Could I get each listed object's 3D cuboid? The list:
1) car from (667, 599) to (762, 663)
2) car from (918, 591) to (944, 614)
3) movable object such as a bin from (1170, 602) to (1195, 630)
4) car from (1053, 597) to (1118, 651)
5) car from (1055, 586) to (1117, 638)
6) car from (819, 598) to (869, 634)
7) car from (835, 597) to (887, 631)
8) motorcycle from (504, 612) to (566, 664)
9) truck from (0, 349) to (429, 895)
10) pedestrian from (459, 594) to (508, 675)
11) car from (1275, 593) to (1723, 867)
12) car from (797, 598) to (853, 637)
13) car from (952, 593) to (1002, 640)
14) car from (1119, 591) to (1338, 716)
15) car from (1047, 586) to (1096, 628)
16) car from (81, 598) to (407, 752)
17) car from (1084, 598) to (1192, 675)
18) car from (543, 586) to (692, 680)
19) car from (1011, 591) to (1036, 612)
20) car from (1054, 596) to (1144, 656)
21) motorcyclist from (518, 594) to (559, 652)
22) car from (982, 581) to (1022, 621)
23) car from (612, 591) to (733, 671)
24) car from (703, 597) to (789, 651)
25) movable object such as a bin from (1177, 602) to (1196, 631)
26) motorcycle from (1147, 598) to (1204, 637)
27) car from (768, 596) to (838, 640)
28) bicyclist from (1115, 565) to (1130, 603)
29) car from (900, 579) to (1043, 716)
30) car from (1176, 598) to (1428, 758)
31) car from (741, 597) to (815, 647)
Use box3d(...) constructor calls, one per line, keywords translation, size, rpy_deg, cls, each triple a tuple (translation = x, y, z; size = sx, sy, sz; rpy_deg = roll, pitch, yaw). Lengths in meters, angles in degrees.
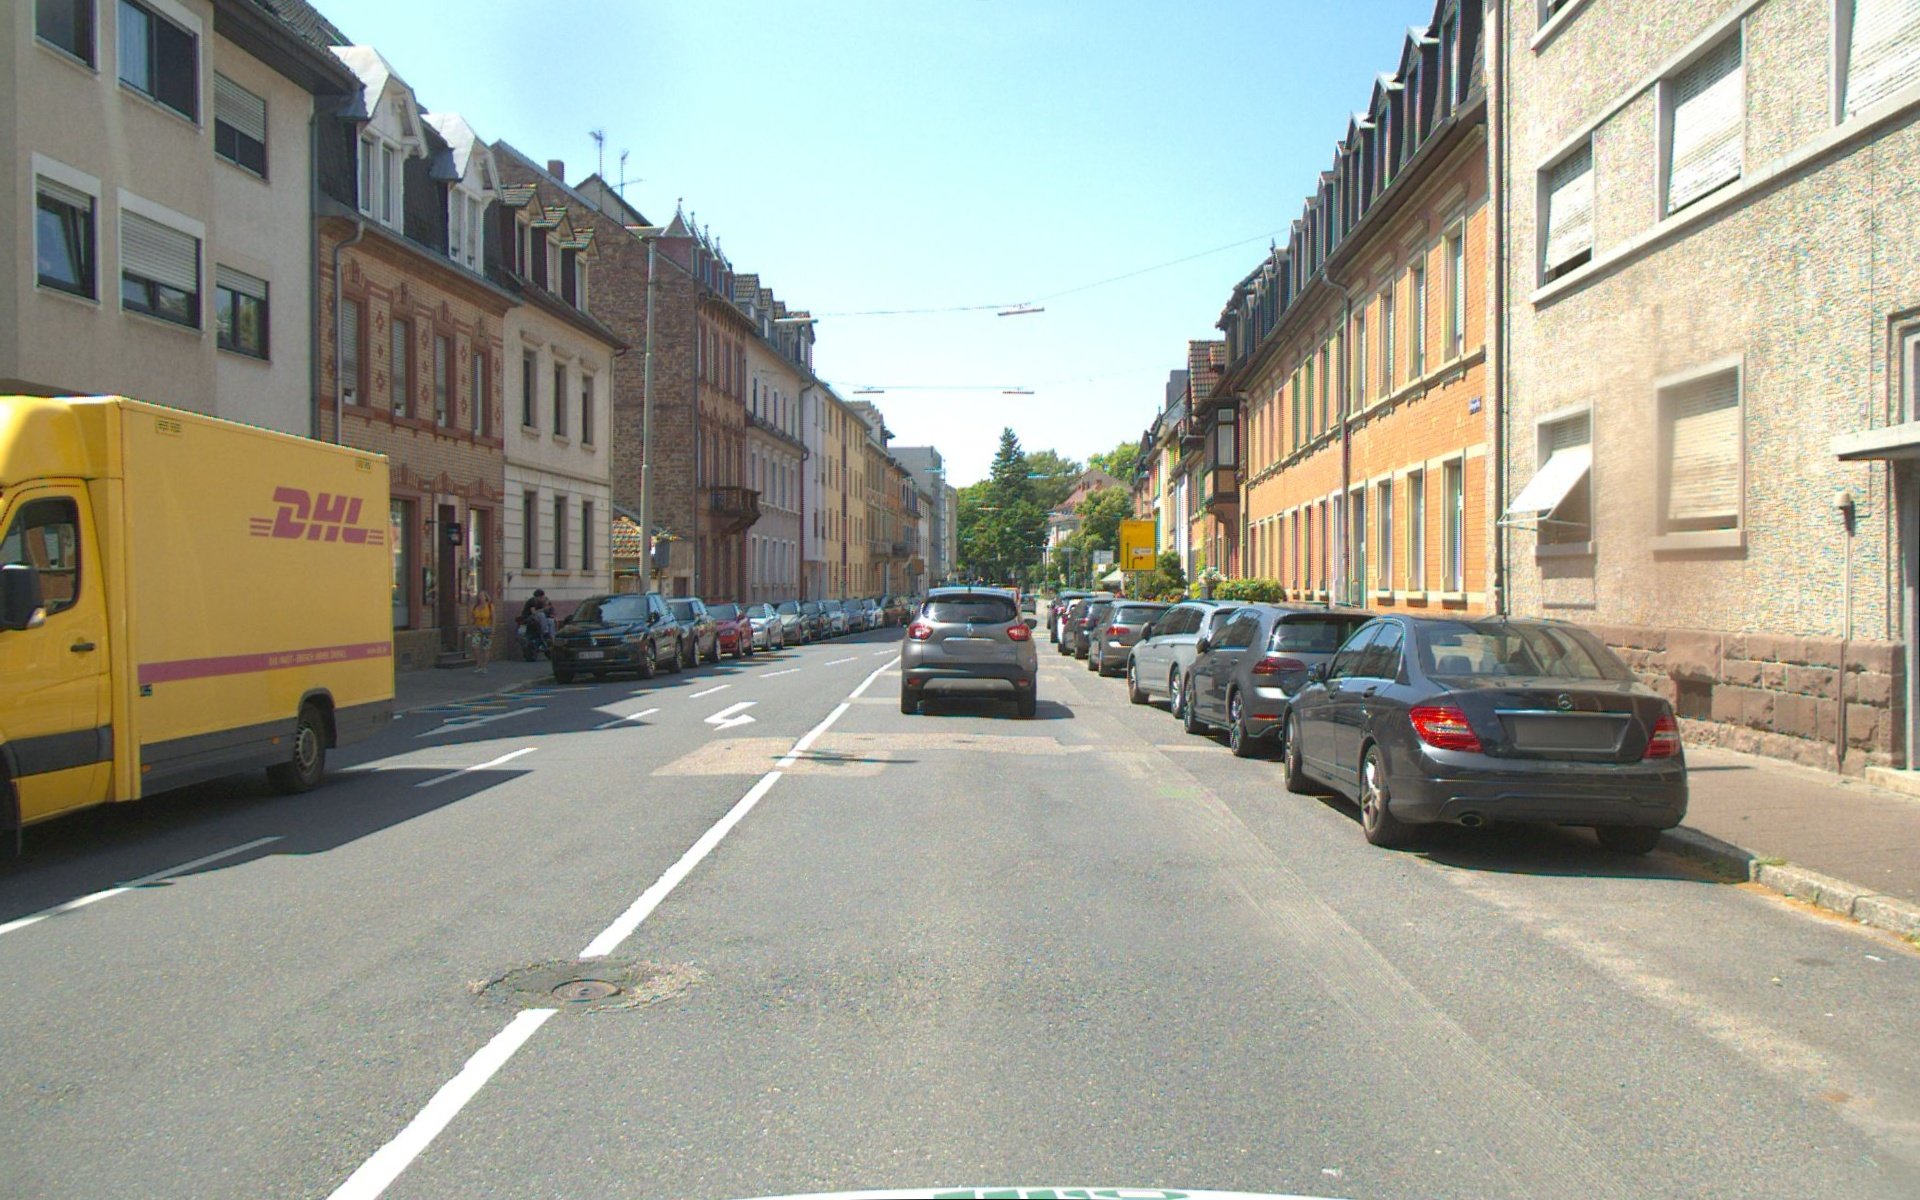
box3d(translation=(-6.286, 0.762, 42.724), size=(1.802, 1.447, 4.501), rpy_deg=(-3, 0, -1), cls="car")
box3d(translation=(-2.162, 0.170, 122.862), size=(1.866, 1.648, 4.301), rpy_deg=(-2, 0, -1), cls="car")
box3d(translation=(7.524, 0.544, 56.006), size=(0.772, 0.923, 0.539), rpy_deg=(-1, 0, -1), cls="movable object such as a bin")
box3d(translation=(3.508, 0.640, 46.747), size=(1.680, 1.439, 4.591), rpy_deg=(-1, 0, 3), cls="car")
box3d(translation=(4.230, 0.384, 56.062), size=(1.952, 1.691, 4.627), rpy_deg=(-1, 0, 2), cls="car")
box3d(translation=(-5.025, 0.670, 72.141), size=(1.802, 1.447, 4.646), rpy_deg=(-2, 0, 0), cls="car")
box3d(translation=(-4.631, 0.638, 77.914), size=(1.801, 1.447, 4.560), rpy_deg=(-3, 0, 4), cls="car")
box3d(translation=(-9.484, 0.834, 36.978), size=(0.827, 1.097, 1.872), rpy_deg=(0, 0, 2), cls="motorcycle")
box3d(translation=(-5.995, 0.127, 11.139), size=(2.179, 2.819, 7.565), rpy_deg=(-2, 0, 1), cls="truck")
box3d(translation=(-9.183, 0.659, 31.899), size=(0.595, 1.521, 0.971), rpy_deg=(1, 0, 2), cls="pedestrian")
box3d(translation=(3.402, 0.711, 11.360), size=(1.676, 1.499, 4.438), rpy_deg=(0, 0, 1), cls="car")
box3d(translation=(-5.369, 0.675, 66.217), size=(1.802, 1.447, 4.502), rpy_deg=(-2, 0, 0), cls="car")
box3d(translation=(0.650, 0.587, 61.900), size=(1.775, 1.649, 4.442), rpy_deg=(-1, 0, 1), cls="car")
box3d(translation=(3.458, 0.653, 22.211), size=(1.818, 1.489, 4.545), rpy_deg=(1, 0, -5), cls="car")
box3d(translation=(4.944, 0.286, 73.754), size=(1.822, 1.778, 4.618), rpy_deg=(2, 0, 0), cls="car")
box3d(translation=(-8.112, 0.774, 19.248), size=(1.802, 1.514, 4.502), rpy_deg=(2, 0, 0), cls="car")
box3d(translation=(3.456, 0.683, 32.673), size=(1.666, 1.405, 4.166), rpy_deg=(1, 0, 0), cls="car")
box3d(translation=(-6.559, 0.606, 32.154), size=(1.802, 1.624, 4.503), rpy_deg=(-2, 0, 2), cls="car")
box3d(translation=(4.864, 0.101, 125.869), size=(1.726, 1.587, 3.944), rpy_deg=(0, 0, 4), cls="car")
box3d(translation=(3.452, 0.627, 41.816), size=(1.615, 1.439, 4.498), rpy_deg=(1, 0, -3), cls="car")
box3d(translation=(-9.434, 0.513, 37.032), size=(0.703, 1.270, 0.712), rpy_deg=(0, 0, 1), cls="motorcyclist")
box3d(translation=(2.263, 0.044, 88.065), size=(1.952, 2.049, 4.468), rpy_deg=(-1, 0, 3), cls="car")
box3d(translation=(-6.554, 0.669, 38.128), size=(1.802, 1.624, 4.503), rpy_deg=(-3, 0, 2), cls="car")
box3d(translation=(-6.318, 0.686, 49.240), size=(1.802, 1.447, 4.503), rpy_deg=(-2, 0, 2), cls="car")
box3d(translation=(8.492, 0.627, 62.087), size=(0.645, 1.073, 0.749), rpy_deg=(0, 0, 3), cls="movable object such as a bin")
box3d(translation=(8.459, 0.674, 64.881), size=(2.085, 1.433, 0.938), rpy_deg=(-2, 0, 2), cls="motorcycle")
box3d(translation=(-5.747, 0.635, 60.966), size=(1.801, 1.447, 4.504), rpy_deg=(-4, 0, 3), cls="car")
box3d(translation=(6.433, -0.632, 65.538), size=(0.521, 1.495, 0.791), rpy_deg=(-1, 0, 3), cls="bicyclist")
box3d(translation=(0.078, 0.568, 22.119), size=(1.709, 1.644, 3.998), rpy_deg=(1, 0, -2), cls="car")
box3d(translation=(3.381, 0.704, 17.065), size=(1.618, 1.445, 4.046), rpy_deg=(0, 0, -2), cls="car")
box3d(translation=(-6.003, 0.714, 55.100), size=(1.802, 1.447, 4.502), rpy_deg=(-5, 0, 1), cls="car")
